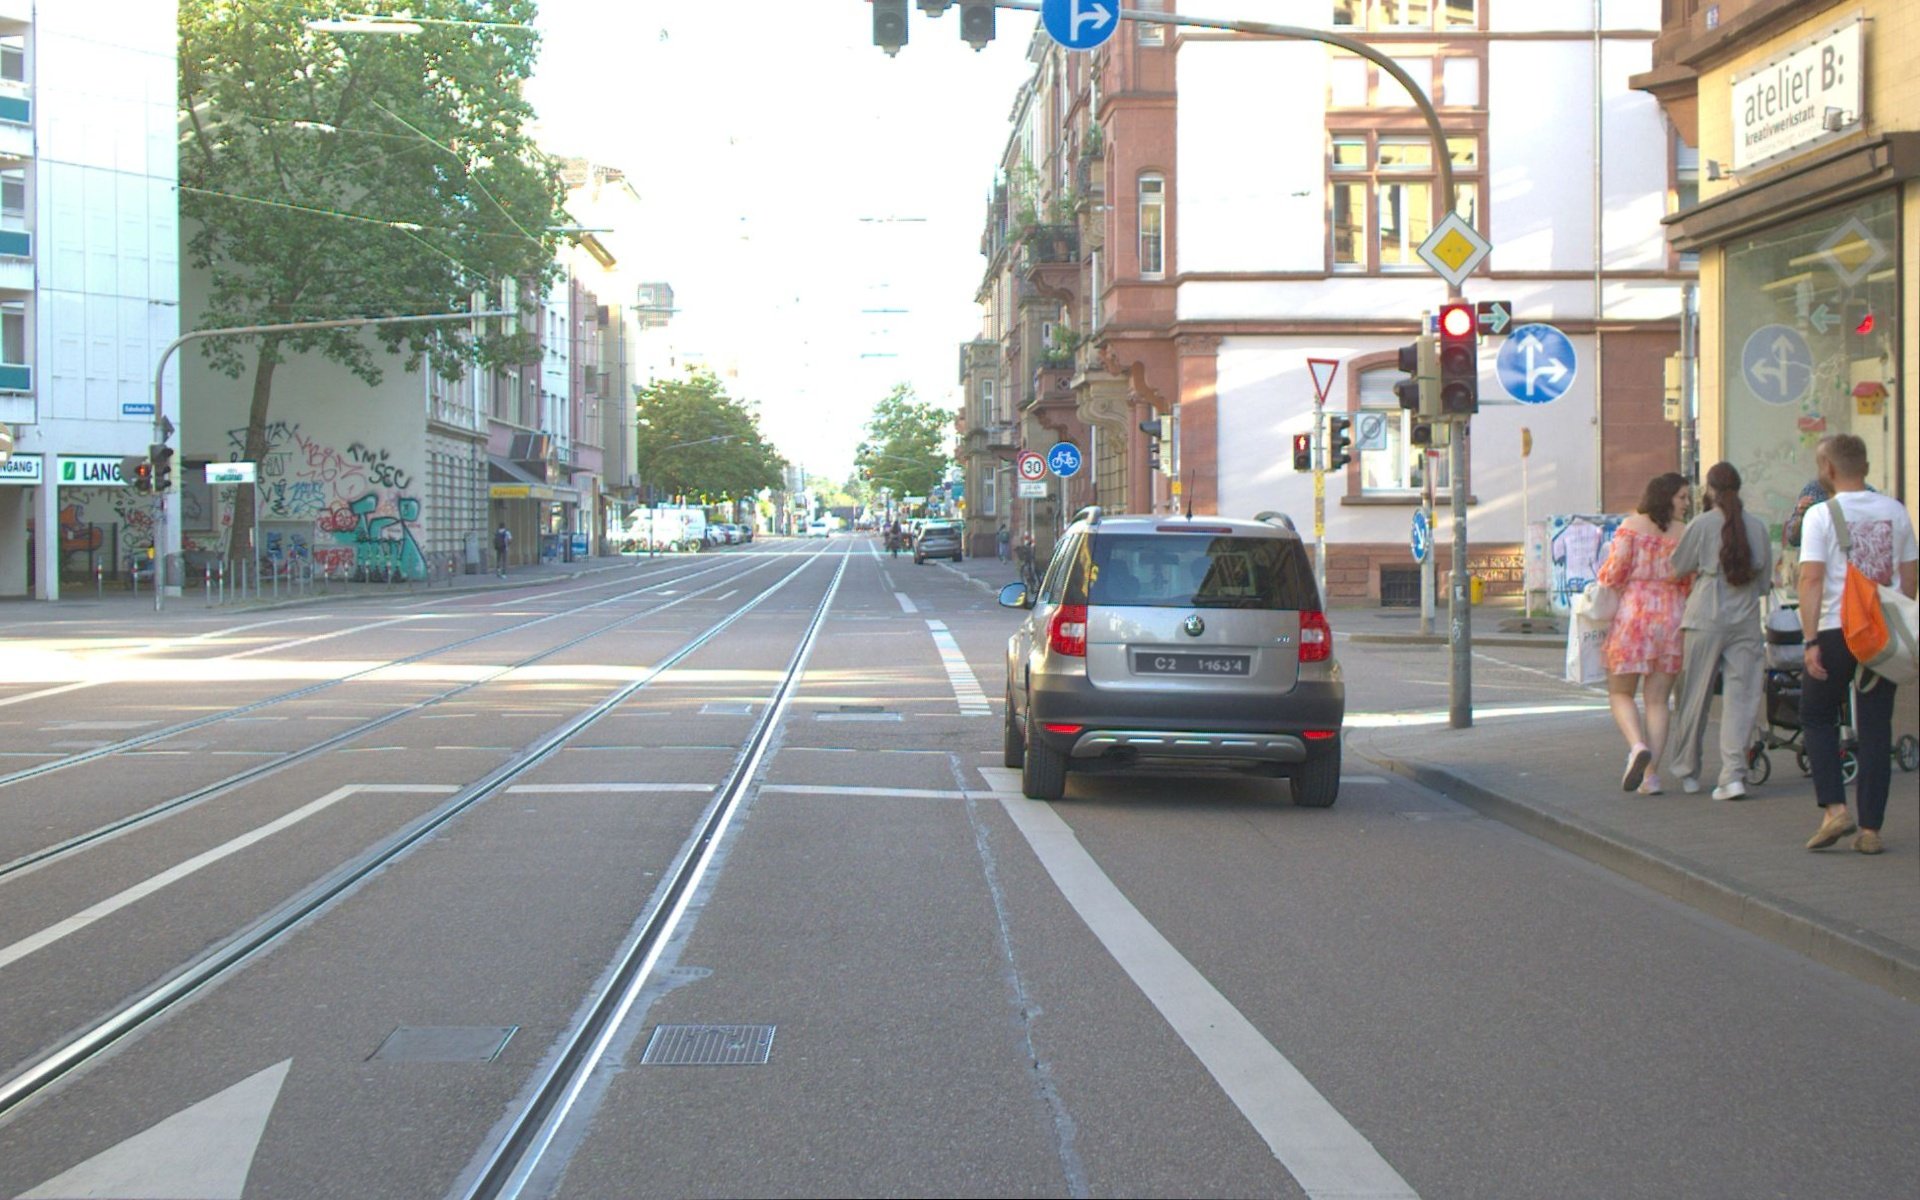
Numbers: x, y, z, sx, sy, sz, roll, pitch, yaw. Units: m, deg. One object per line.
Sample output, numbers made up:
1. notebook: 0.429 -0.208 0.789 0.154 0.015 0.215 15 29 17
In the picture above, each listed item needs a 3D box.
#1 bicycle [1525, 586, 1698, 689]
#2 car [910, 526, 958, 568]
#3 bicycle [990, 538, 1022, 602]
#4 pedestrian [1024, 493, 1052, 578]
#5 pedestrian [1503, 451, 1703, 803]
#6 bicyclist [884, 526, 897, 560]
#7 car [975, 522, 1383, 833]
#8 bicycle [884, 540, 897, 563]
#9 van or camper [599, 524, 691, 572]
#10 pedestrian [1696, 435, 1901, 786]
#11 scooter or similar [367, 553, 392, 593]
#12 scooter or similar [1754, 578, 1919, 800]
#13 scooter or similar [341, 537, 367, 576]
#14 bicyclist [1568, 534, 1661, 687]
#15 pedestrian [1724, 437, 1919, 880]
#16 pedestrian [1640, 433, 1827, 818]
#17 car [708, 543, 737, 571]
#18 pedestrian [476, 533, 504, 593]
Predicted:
1. bicycle: 7.103 0.410 37.504 1.718 1.031 0.597 3 0 34
2. car: -1.082 -2.169 141.778 1.950 1.678 4.000 1 1 -1
3. bicycle: 0.962 -0.647 72.438 0.653 1.319 2.177 1 1 1
4. pedestrian: 1.640 -1.369 72.754 0.544 1.774 0.504 1 1 -1
5. pedestrian: 3.422 0.131 18.354 0.805 1.793 0.762 -3 2 -3
6. bicyclist: -3.187 -2.620 158.659 0.575 1.548 0.595 1 1 -1
7. car: 1.200 0.388 20.678 1.993 1.612 4.000 2 1 -2
8. bicycle: -3.191 -2.231 158.670 0.575 1.026 1.895 1 1 -1
9. van or camper: -17.525 -2.887 191.371 4.635 2.554 2.000 1 0 -32
10. pedestrian: 4.457 0.045 18.319 0.805 1.793 0.761 -3 2 -2
11. scooter or similar: -15.643 -0.730 92.641 0.516 1.053 1.478 1 1 -4
12. scooter or similar: 4.579 0.449 17.669 0.805 1.066 0.521 -4 1 -1
13. scooter or similar: -16.320 -1.181 92.583 0.516 1.042 1.478 1 1 -4
14. bicyclist: 7.144 0.118 37.535 0.741 1.628 0.607 3 -1 36
15. pedestrian: 3.851 0.219 14.670 0.805 1.793 1.092 -3 2 -3
16. pedestrian: 3.962 0.121 17.640 0.690 1.902 0.670 -3 2 -3
17. car: -17.423 -3.200 252.702 1.993 2.007 4.001 1 1 -2
18. pedestrian: -13.679 -1.084 100.057 0.701 1.722 0.648 1 1 -2
